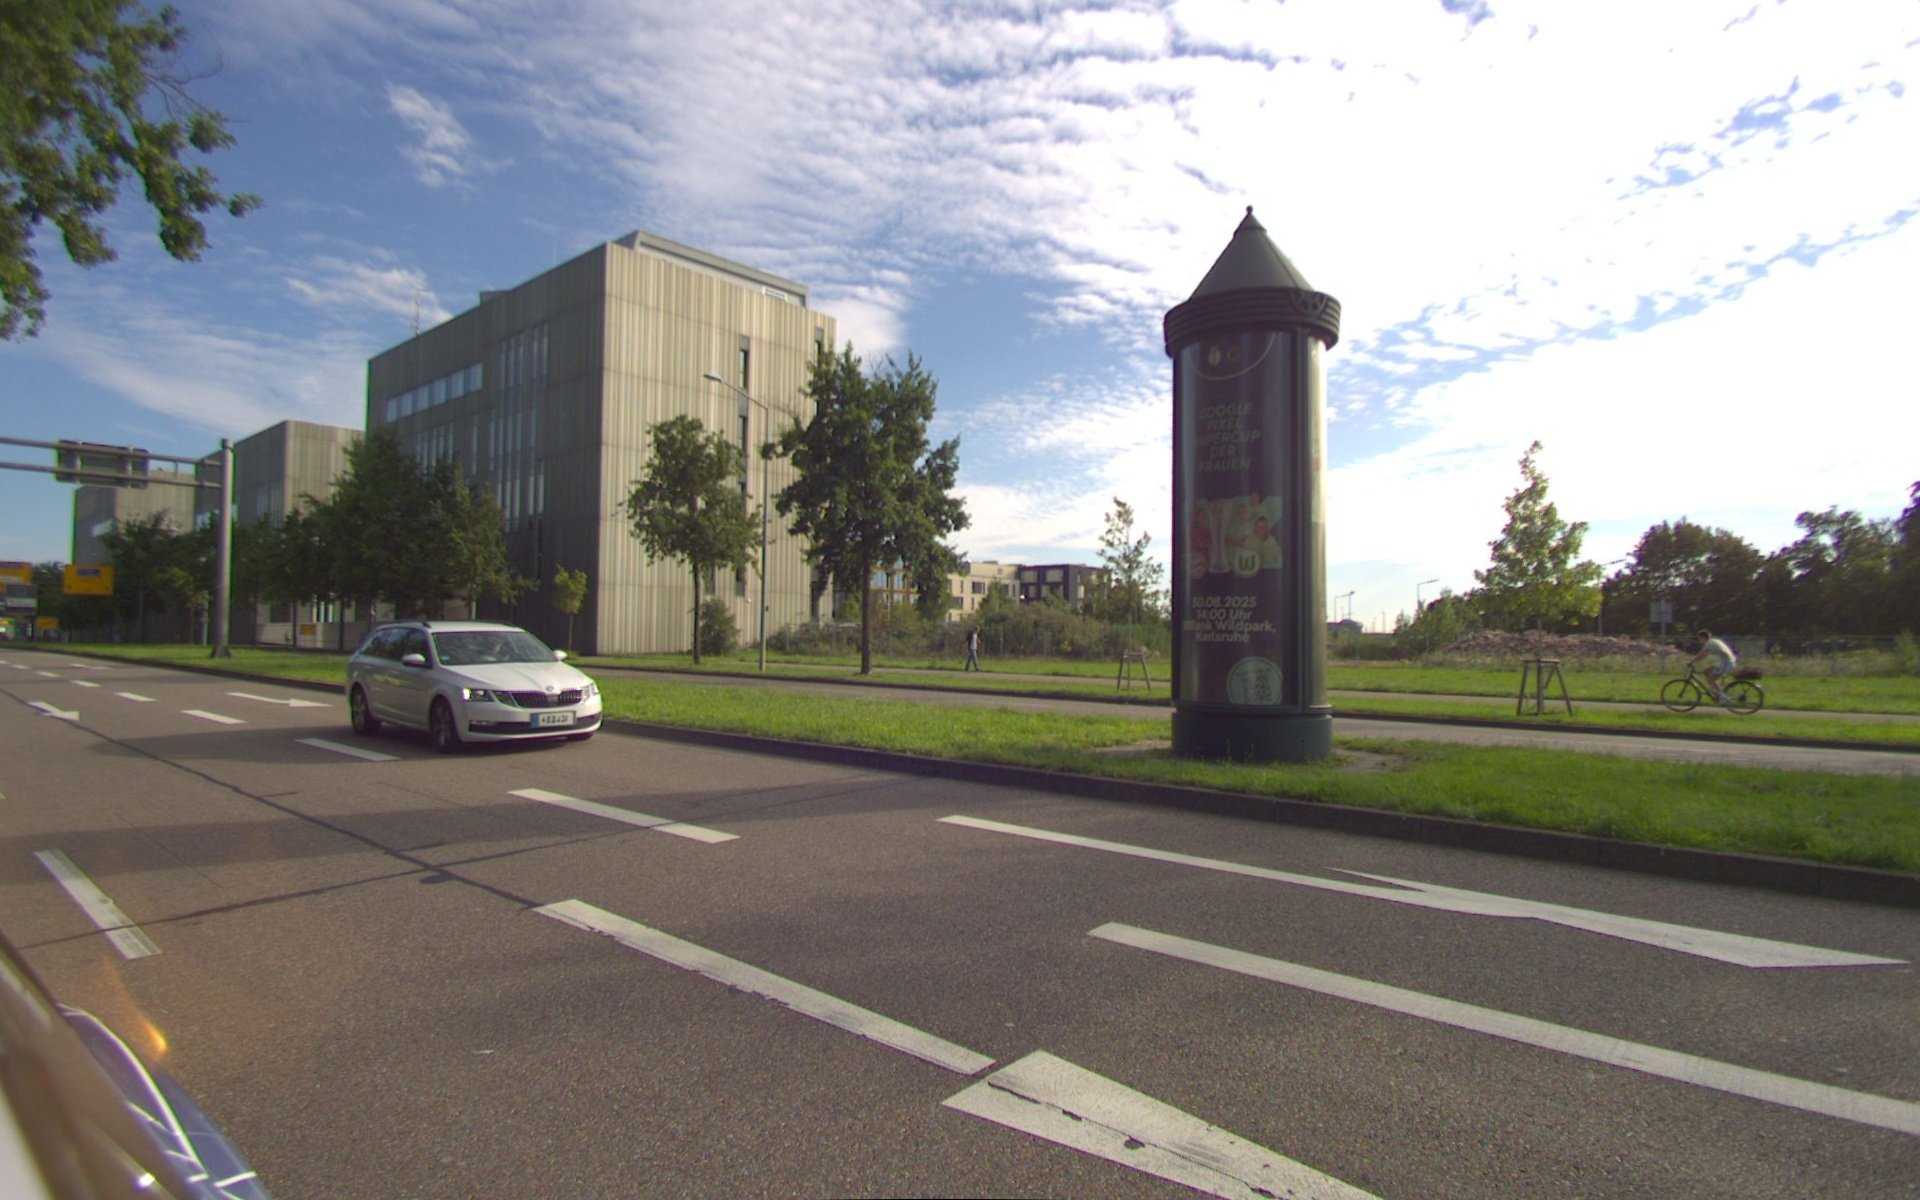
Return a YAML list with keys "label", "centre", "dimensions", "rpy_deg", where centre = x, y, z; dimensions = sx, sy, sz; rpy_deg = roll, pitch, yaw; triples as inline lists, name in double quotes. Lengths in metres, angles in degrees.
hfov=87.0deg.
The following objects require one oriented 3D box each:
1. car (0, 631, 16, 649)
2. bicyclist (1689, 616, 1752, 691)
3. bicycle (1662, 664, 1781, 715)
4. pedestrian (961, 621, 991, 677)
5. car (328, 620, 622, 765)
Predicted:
- label: "car"
  centre: [-110.072, 4.567, 116.200]
  dimensions: [3.998, 2.029, 1.973]
  rpy_deg: [-2, -3, 41]
- label: "bicyclist"
  centre: [15.959, 1.121, 21.248]
  dimensions: [0.989, 1.537, 0.698]
  rpy_deg: [-2, -4, 41]
- label: "bicycle"
  centre: [15.932, 1.851, 21.202]
  dimensions: [1.910, 0.989, 0.885]
  rpy_deg: [-2, -4, 41]
- label: "pedestrian"
  centre: [0.581, 1.784, 37.099]
  dimensions: [0.867, 2.029, 0.667]
  rpy_deg: [-2, -4, 41]
- label: "car"
  centre: [-6.178, 1.011, 12.634]
  dimensions: [4.479, 1.510, 1.681]
  rpy_deg: [-1, -2, 41]
